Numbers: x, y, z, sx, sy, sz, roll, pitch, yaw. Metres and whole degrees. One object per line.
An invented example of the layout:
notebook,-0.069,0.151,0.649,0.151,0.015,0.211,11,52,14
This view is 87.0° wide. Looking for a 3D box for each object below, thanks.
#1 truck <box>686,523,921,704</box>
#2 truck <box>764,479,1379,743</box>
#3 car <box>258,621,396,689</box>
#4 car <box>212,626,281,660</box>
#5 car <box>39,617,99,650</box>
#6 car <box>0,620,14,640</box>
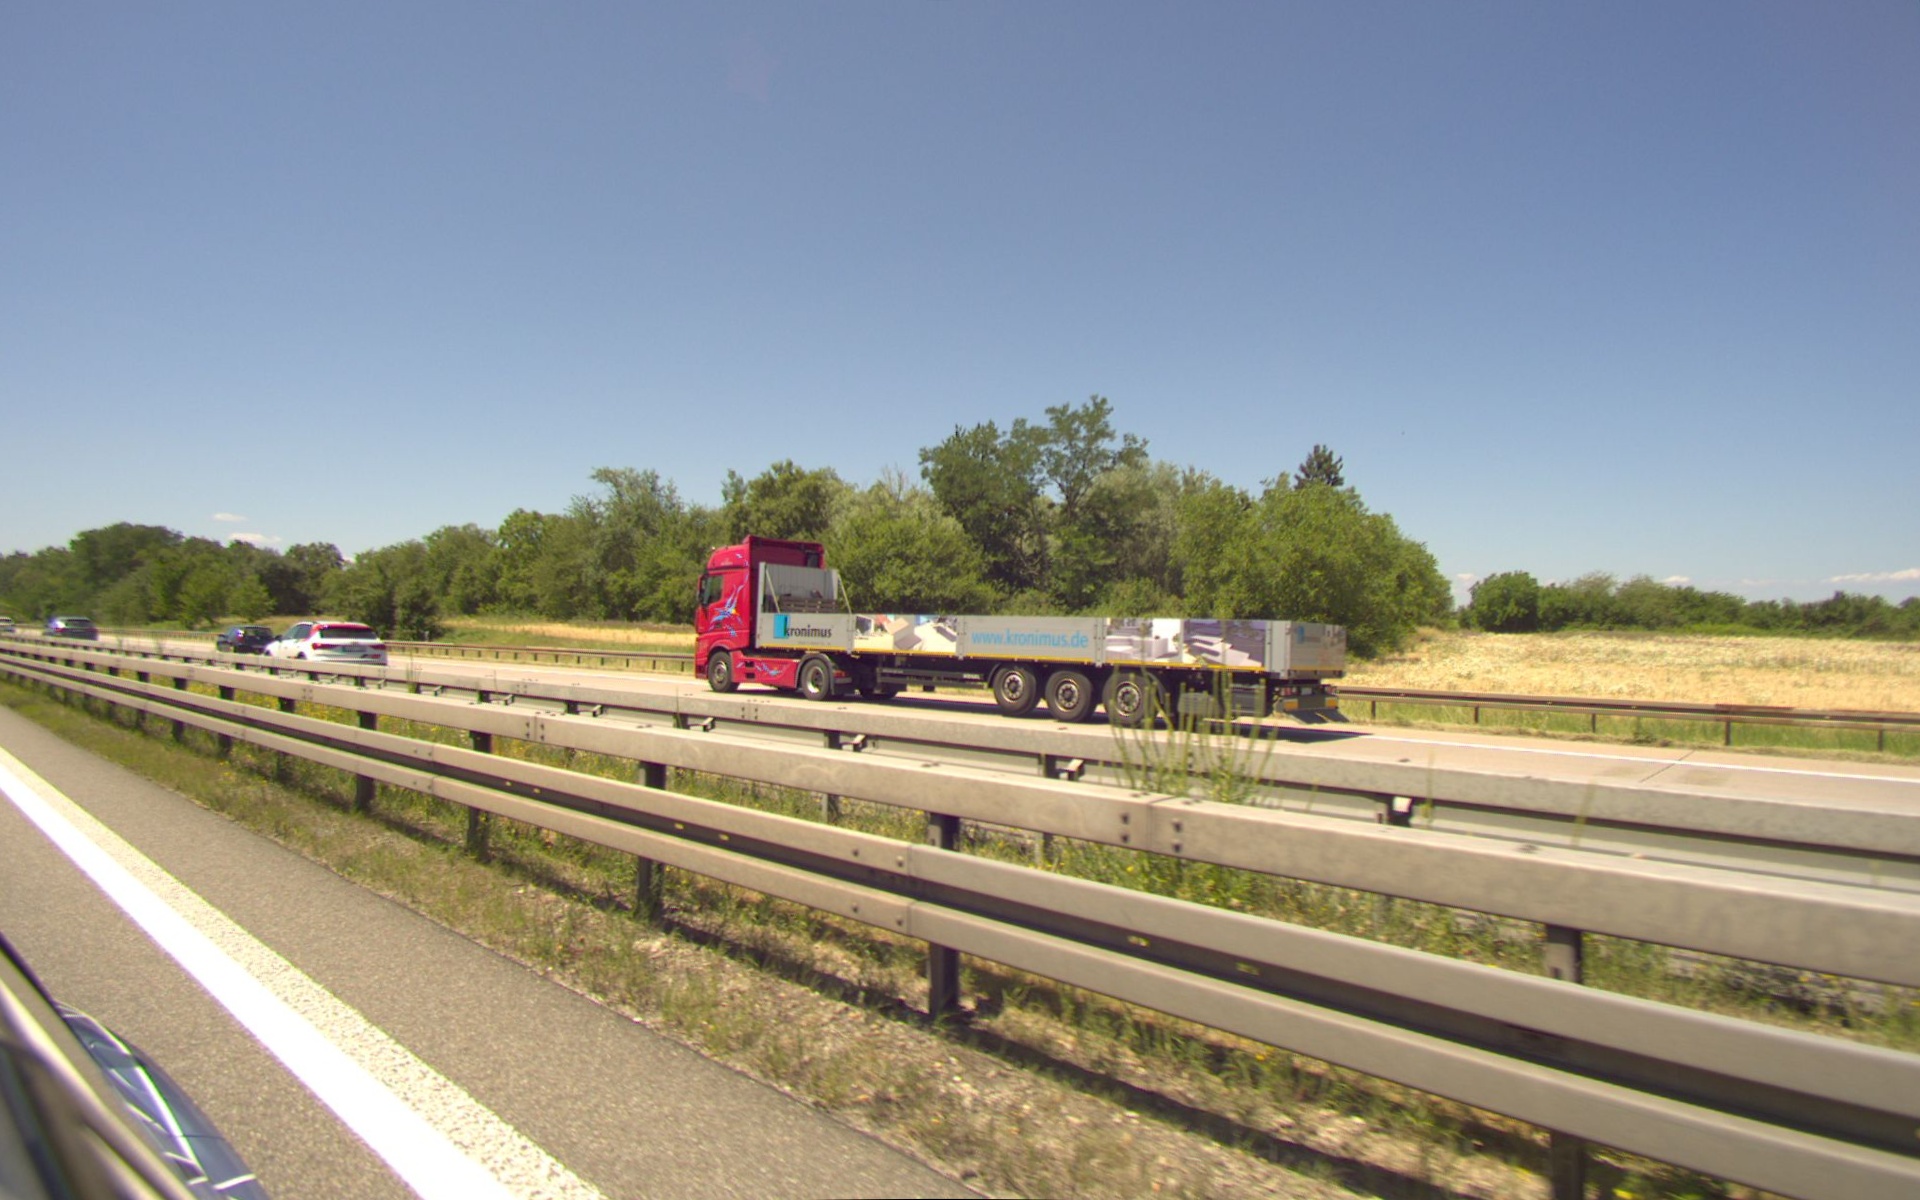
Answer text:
truck,-4.059,0.401,25.649,5.747,4.045,2.732,-1,-4,41
truck,1.306,0.311,20.979,13.515,4.045,2.732,-1,-4,41
car,-15.896,1.334,25.344,4.093,1.580,1.785,-1,-3,41
car,-32.518,1.952,46.090,3.676,1.462,1.715,-1,-3,41
car,-46.617,1.763,52.925,3.959,1.660,1.790,-1,-3,41
car,-76.496,2.383,80.193,3.959,1.548,1.790,-1,-3,41
